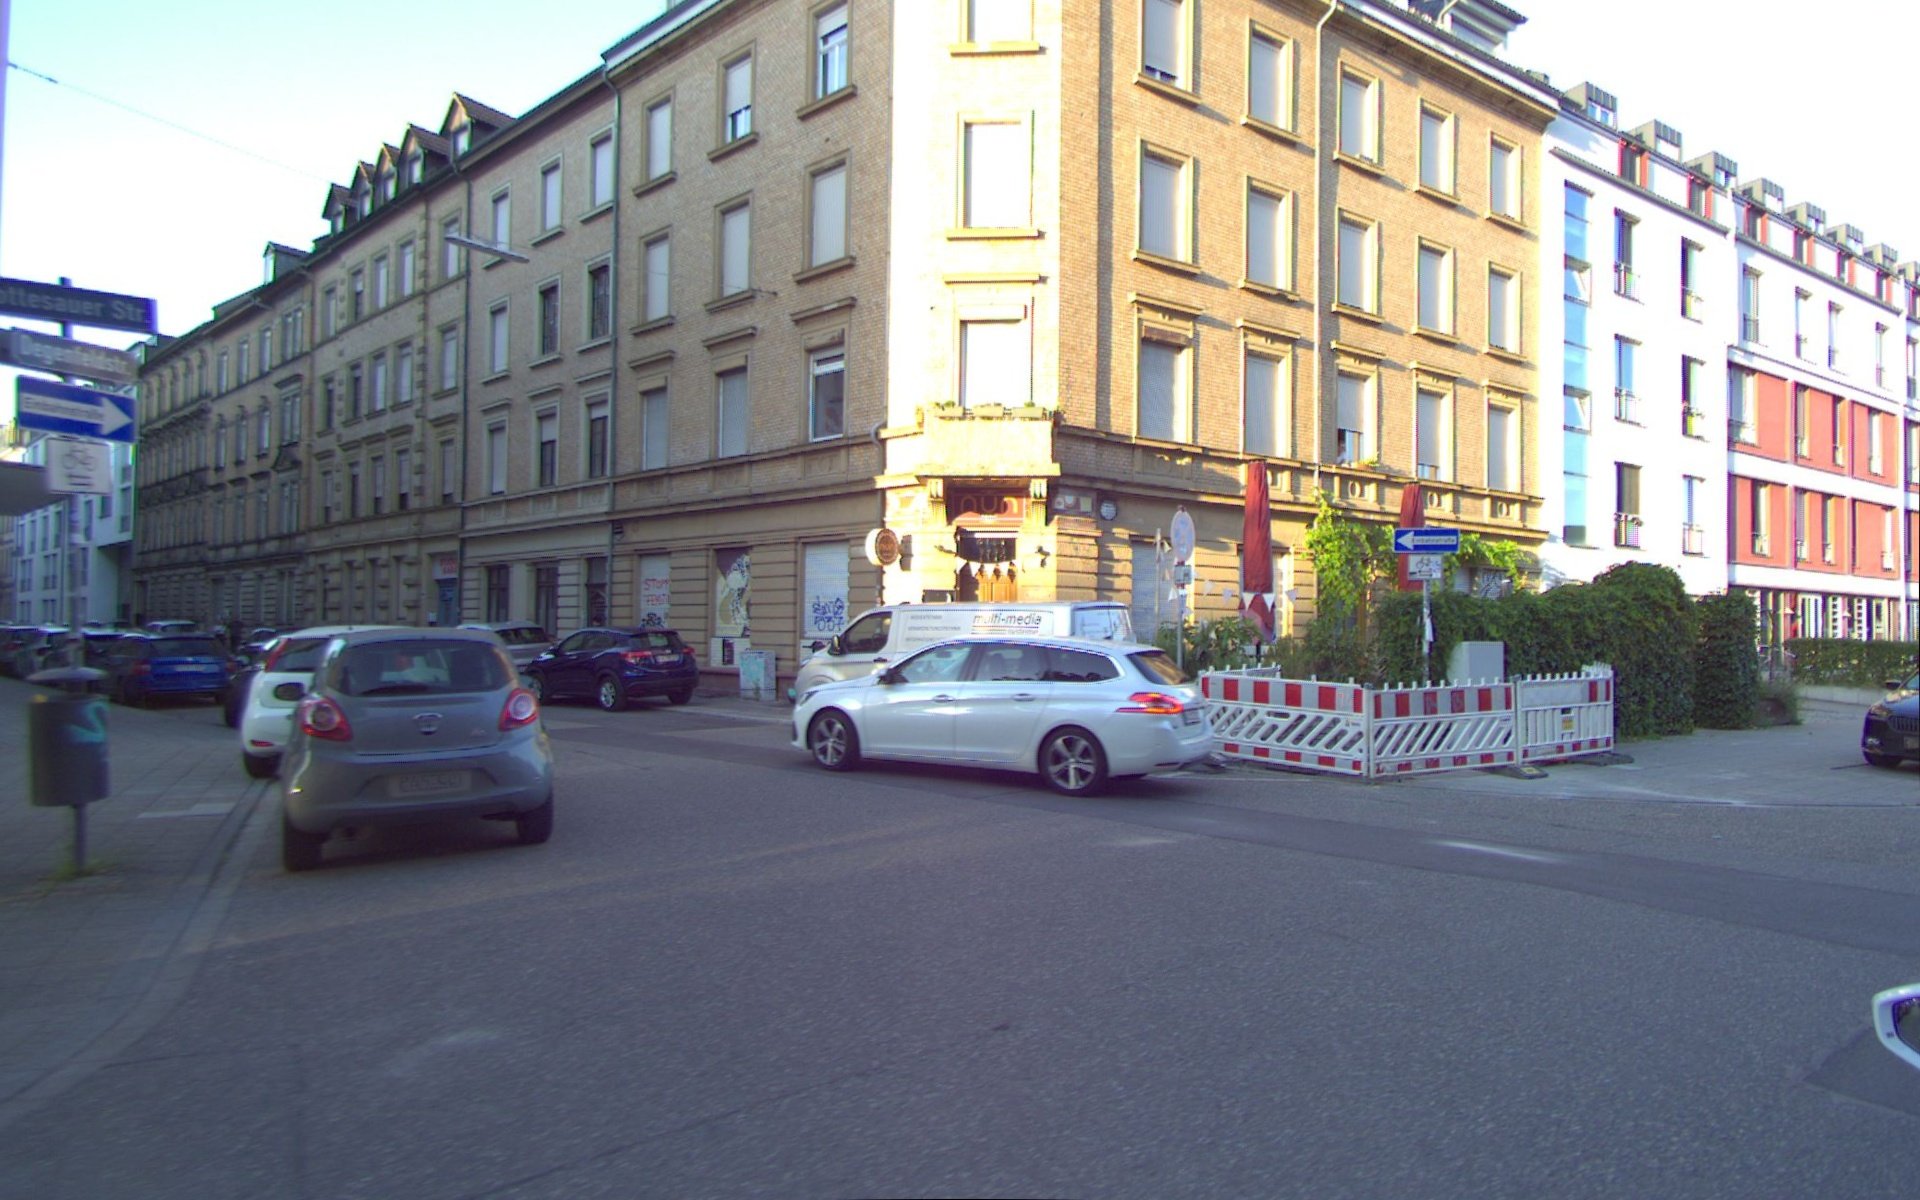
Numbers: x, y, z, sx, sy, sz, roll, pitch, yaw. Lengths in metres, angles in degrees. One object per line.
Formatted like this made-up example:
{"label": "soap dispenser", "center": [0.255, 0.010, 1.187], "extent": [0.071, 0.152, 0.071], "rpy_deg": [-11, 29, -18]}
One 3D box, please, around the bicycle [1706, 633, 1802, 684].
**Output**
{"label": "bicycle", "center": [19.771, 1.449, 25.055], "extent": [0.602, 1.163, 1.769], "rpy_deg": [2, 0, -27]}

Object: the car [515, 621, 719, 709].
{"label": "car", "center": [-6.897, 1.221, 20.116], "extent": [3.855, 1.592, 2.016], "rpy_deg": [-1, -1, 36]}

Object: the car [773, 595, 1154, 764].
{"label": "car", "center": [-0.082, 0.986, 14.399], "extent": [5.210, 2.001, 2.200], "rpy_deg": [0, -1, 37]}

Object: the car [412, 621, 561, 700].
{"label": "car", "center": [-10.853, 1.314, 22.924], "extent": [3.940, 1.644, 1.577], "rpy_deg": [-1, -1, 40]}

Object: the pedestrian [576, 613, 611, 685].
{"label": "pedestrian", "center": [-8.957, 1.186, 24.559], "extent": [0.491, 1.709, 0.592], "rpy_deg": [2, 0, 38]}

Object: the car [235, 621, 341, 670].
{"label": "car", "center": [-21.572, 1.421, 32.195], "extent": [3.940, 1.479, 1.780], "rpy_deg": [-1, -2, 40]}

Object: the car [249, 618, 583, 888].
{"label": "car", "center": [-4.196, 0.918, 7.780], "extent": [1.823, 1.528, 3.489], "rpy_deg": [1, -1, -30]}

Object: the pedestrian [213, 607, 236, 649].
{"label": "pedestrian", "center": [-29.986, 1.135, 40.956], "extent": [0.491, 1.709, 0.592], "rpy_deg": [2, 0, 38]}

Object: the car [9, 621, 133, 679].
{"label": "car", "center": [-23.758, 1.291, 26.807], "extent": [3.938, 1.426, 1.815], "rpy_deg": [-1, -1, 38]}

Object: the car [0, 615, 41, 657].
{"label": "car", "center": [-34.668, 1.271, 36.003], "extent": [3.938, 1.426, 1.922], "rpy_deg": [-1, -2, 38]}

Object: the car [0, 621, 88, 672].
{"label": "car", "center": [-27.477, 1.330, 29.725], "extent": [3.938, 1.426, 1.815], "rpy_deg": [-1, -1, 38]}

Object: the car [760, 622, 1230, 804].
{"label": "car", "center": [0.327, 1.021, 10.404], "extent": [4.512, 1.543, 1.820], "rpy_deg": [0, -2, 26]}

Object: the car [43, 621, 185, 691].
{"label": "car", "center": [-19.816, 1.250, 23.485], "extent": [3.938, 1.487, 1.780], "rpy_deg": [-1, -1, 38]}

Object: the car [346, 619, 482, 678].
{"label": "car", "center": [-14.464, 1.237, 26.559], "extent": [3.940, 1.446, 1.836], "rpy_deg": [-1, -2, 40]}

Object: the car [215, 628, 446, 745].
{"label": "car", "center": [-9.451, 1.164, 14.959], "extent": [4.023, 1.458, 1.987], "rpy_deg": [-1, -2, 44]}

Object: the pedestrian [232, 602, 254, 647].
{"label": "pedestrian", "center": [-29.605, 1.001, 41.491], "extent": [0.491, 1.831, 0.592], "rpy_deg": [2, 0, 38]}

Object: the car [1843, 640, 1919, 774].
{"label": "car", "center": [13.033, 1.329, 12.717], "extent": [3.799, 1.554, 1.695], "rpy_deg": [2, -1, -30]}

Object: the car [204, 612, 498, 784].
{"label": "car", "center": [-6.679, 0.958, 11.558], "extent": [1.942, 1.528, 4.057], "rpy_deg": [2, 0, -18]}

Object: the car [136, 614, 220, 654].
{"label": "car", "center": [-32.047, 1.366, 41.145], "extent": [3.938, 1.578, 1.882], "rpy_deg": [-1, -1, 39]}

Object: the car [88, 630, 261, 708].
{"label": "car", "center": [-15.951, 1.318, 20.345], "extent": [3.938, 1.426, 1.867], "rpy_deg": [-1, -2, 38]}
